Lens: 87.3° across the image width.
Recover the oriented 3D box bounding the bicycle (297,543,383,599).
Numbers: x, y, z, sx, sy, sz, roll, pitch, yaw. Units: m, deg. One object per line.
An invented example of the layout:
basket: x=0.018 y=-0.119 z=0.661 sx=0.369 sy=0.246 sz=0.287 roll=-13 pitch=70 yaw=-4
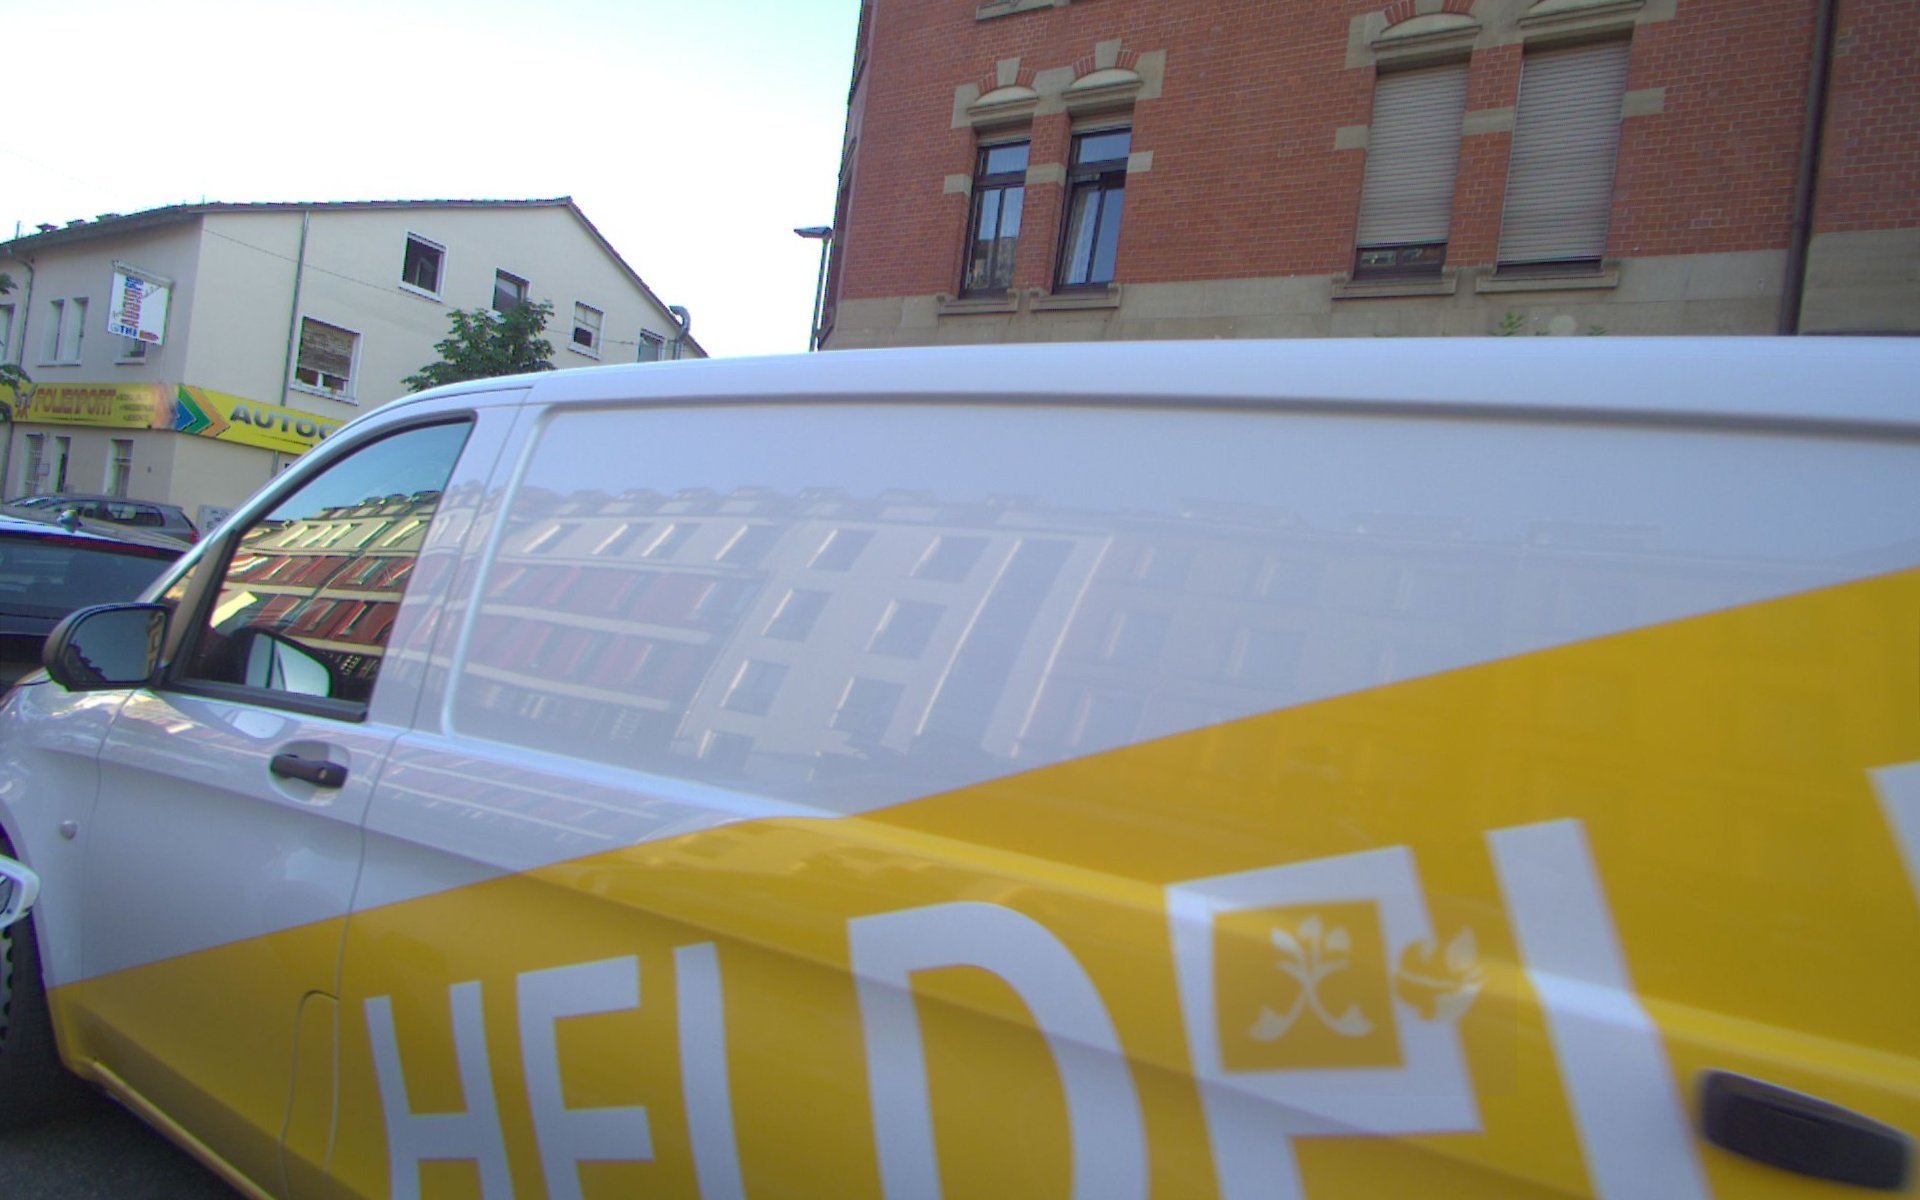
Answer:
bicycle: x=-14.155 y=-0.642 z=23.011 sx=0.338 sy=1.031 sz=1.606 roll=10 pitch=-1 yaw=30

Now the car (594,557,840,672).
car: x=-4.304 y=0.356 z=18.537 sx=1.846 sy=1.692 sz=4.327 roll=5 pitch=-2 yaw=29

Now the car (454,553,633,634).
car: x=-10.817 y=-0.186 z=26.061 sx=4.494 sy=1.527 sz=1.744 roll=7 pitch=-1 yaw=29

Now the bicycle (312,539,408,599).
bicycle: x=-14.216 y=-0.714 z=23.899 sx=0.338 sy=1.162 sz=1.864 roll=10 pitch=-1 yaw=32

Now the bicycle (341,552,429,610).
bicycle: x=-12.760 y=-0.399 z=22.384 sx=0.338 sy=1.053 sz=1.606 roll=10 pitch=0 yaw=32

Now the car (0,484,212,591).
car: x=-16.488 y=-1.186 z=18.408 sx=1.727 sy=1.533 sz=4.054 roll=9 pitch=1 yaw=32

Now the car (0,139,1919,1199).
car: x=-0.398 y=0.544 z=2.343 sx=4.996 sy=1.906 sz=1.897 roll=7 pitch=-1 yaw=30

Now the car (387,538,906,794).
car: x=-2.820 y=0.439 z=8.764 sx=4.348 sy=1.442 sz=1.728 roll=7 pitch=1 yaw=30

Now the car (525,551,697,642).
car: x=-9.752 y=-0.103 z=28.032 sx=4.499 sy=1.853 sz=1.876 roll=8 pitch=0 yaw=30

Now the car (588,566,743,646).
car: x=-8.839 y=0.179 z=30.158 sx=4.259 sy=1.924 sz=1.876 roll=5 pitch=-1 yaw=30

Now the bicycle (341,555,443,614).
bicycle: x=-12.387 y=-0.316 z=22.010 sx=0.421 sy=1.022 sz=1.853 roll=10 pitch=-1 yaw=32

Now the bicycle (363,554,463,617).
bicycle: x=-11.797 y=-0.287 z=21.771 sx=0.420 sy=1.141 sz=1.925 roll=8 pitch=-1 yaw=23

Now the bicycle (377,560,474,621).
bicycle: x=-11.424 y=-0.173 z=21.559 sx=0.420 sy=1.087 sz=1.856 roll=10 pitch=-1 yaw=23

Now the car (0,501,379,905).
car: x=-5.022 y=0.209 z=5.023 sx=4.181 sy=1.440 sz=1.725 roll=7 pitch=-2 yaw=31

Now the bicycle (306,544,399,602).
bicycle: x=-13.814 y=-0.595 z=22.920 sx=0.338 sy=1.082 sz=1.735 roll=10 pitch=-1 yaw=30
